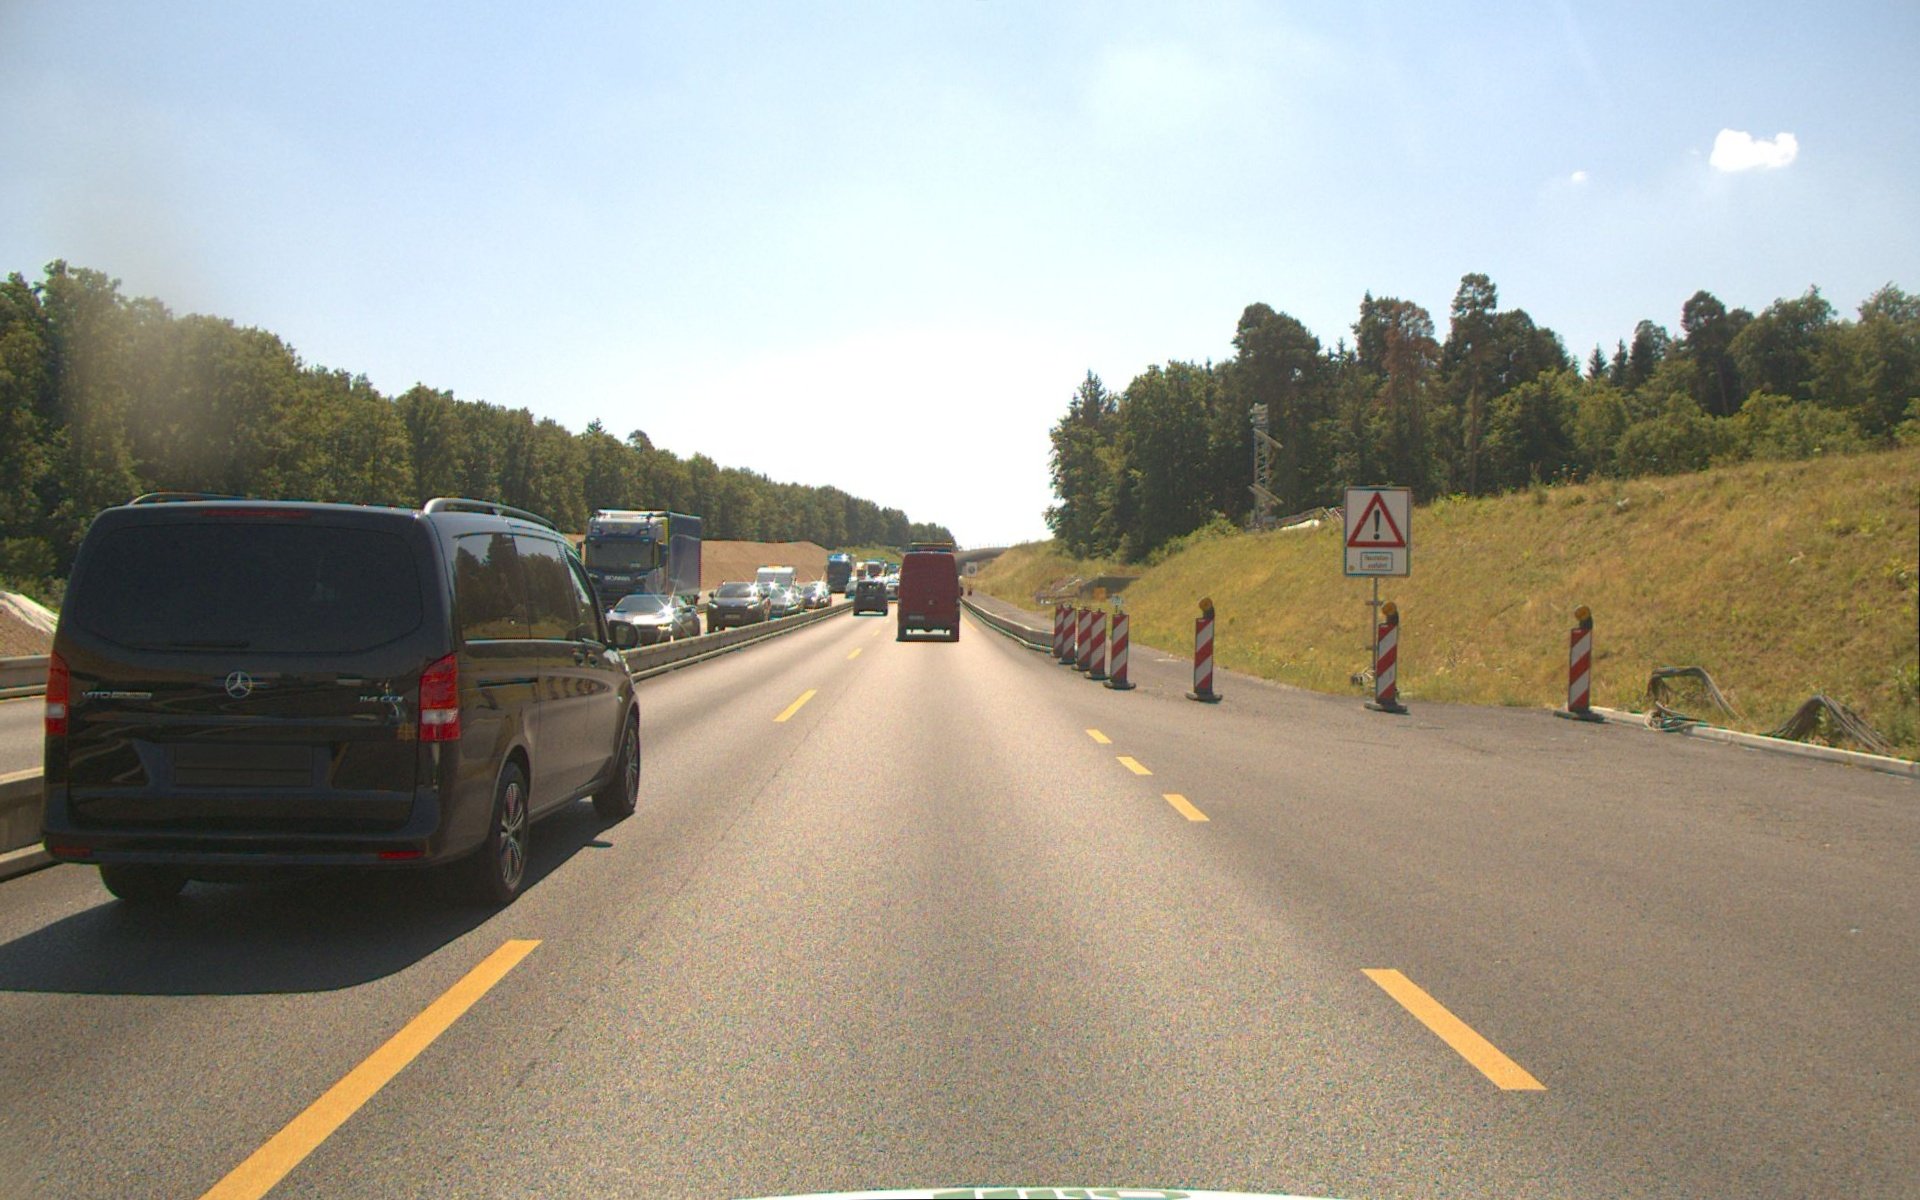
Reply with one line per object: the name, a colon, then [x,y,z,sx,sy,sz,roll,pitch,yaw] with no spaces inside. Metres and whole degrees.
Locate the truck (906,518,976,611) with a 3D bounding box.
truck: [-1.317,-2.158,112.202,4.311,5.592,16.598,1,-1,-1]

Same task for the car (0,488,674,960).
car: [-3.008,0.517,9.469,1.836,1.883,5.477,1,0,-1]

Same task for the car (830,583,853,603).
car: [-10.507,-0.620,146.669,1.740,1.699,3.839,1,-1,0]

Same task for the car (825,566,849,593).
car: [-13.030,-2.172,175.687,2.337,2.625,3.998,1,-1,-2]

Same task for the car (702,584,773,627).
car: [-7.453,0.223,55.710,1.803,1.351,3.942,1,-1,0]

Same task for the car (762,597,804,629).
car: [-7.759,0.570,72.807,1.434,1.351,3.371,1,-1,0]

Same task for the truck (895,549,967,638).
truck: [-0.967,-0.161,52.499,2.110,2.635,5.330,1,-1,-2]

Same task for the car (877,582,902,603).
car: [-5.483,-0.586,128.298,1.794,1.549,3.960,1,-1,-1]

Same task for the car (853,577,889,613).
car: [-4.740,-0.254,88.515,1.716,1.856,4.781,1,0,-1]

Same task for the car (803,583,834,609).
car: [-8.035,-0.215,94.114,1.434,1.351,3.371,1,-1,0]

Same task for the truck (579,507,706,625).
truck: [-10.723,-0.996,56.823,2.457,3.680,9.639,1,-1,0]

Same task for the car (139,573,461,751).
car: [-6.584,0.593,17.002,1.591,1.584,4.068,1,-1,1]

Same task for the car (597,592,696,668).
car: [-7.027,0.673,37.315,1.649,1.624,3.223,1,-1,-1]

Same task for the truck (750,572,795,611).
truck: [-12.259,-0.535,108.473,2.351,2.399,5.226,1,-1,0]

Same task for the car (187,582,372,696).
car: [-9.598,0.538,23.552,1.349,1.488,3.151,1,-1,-1]
